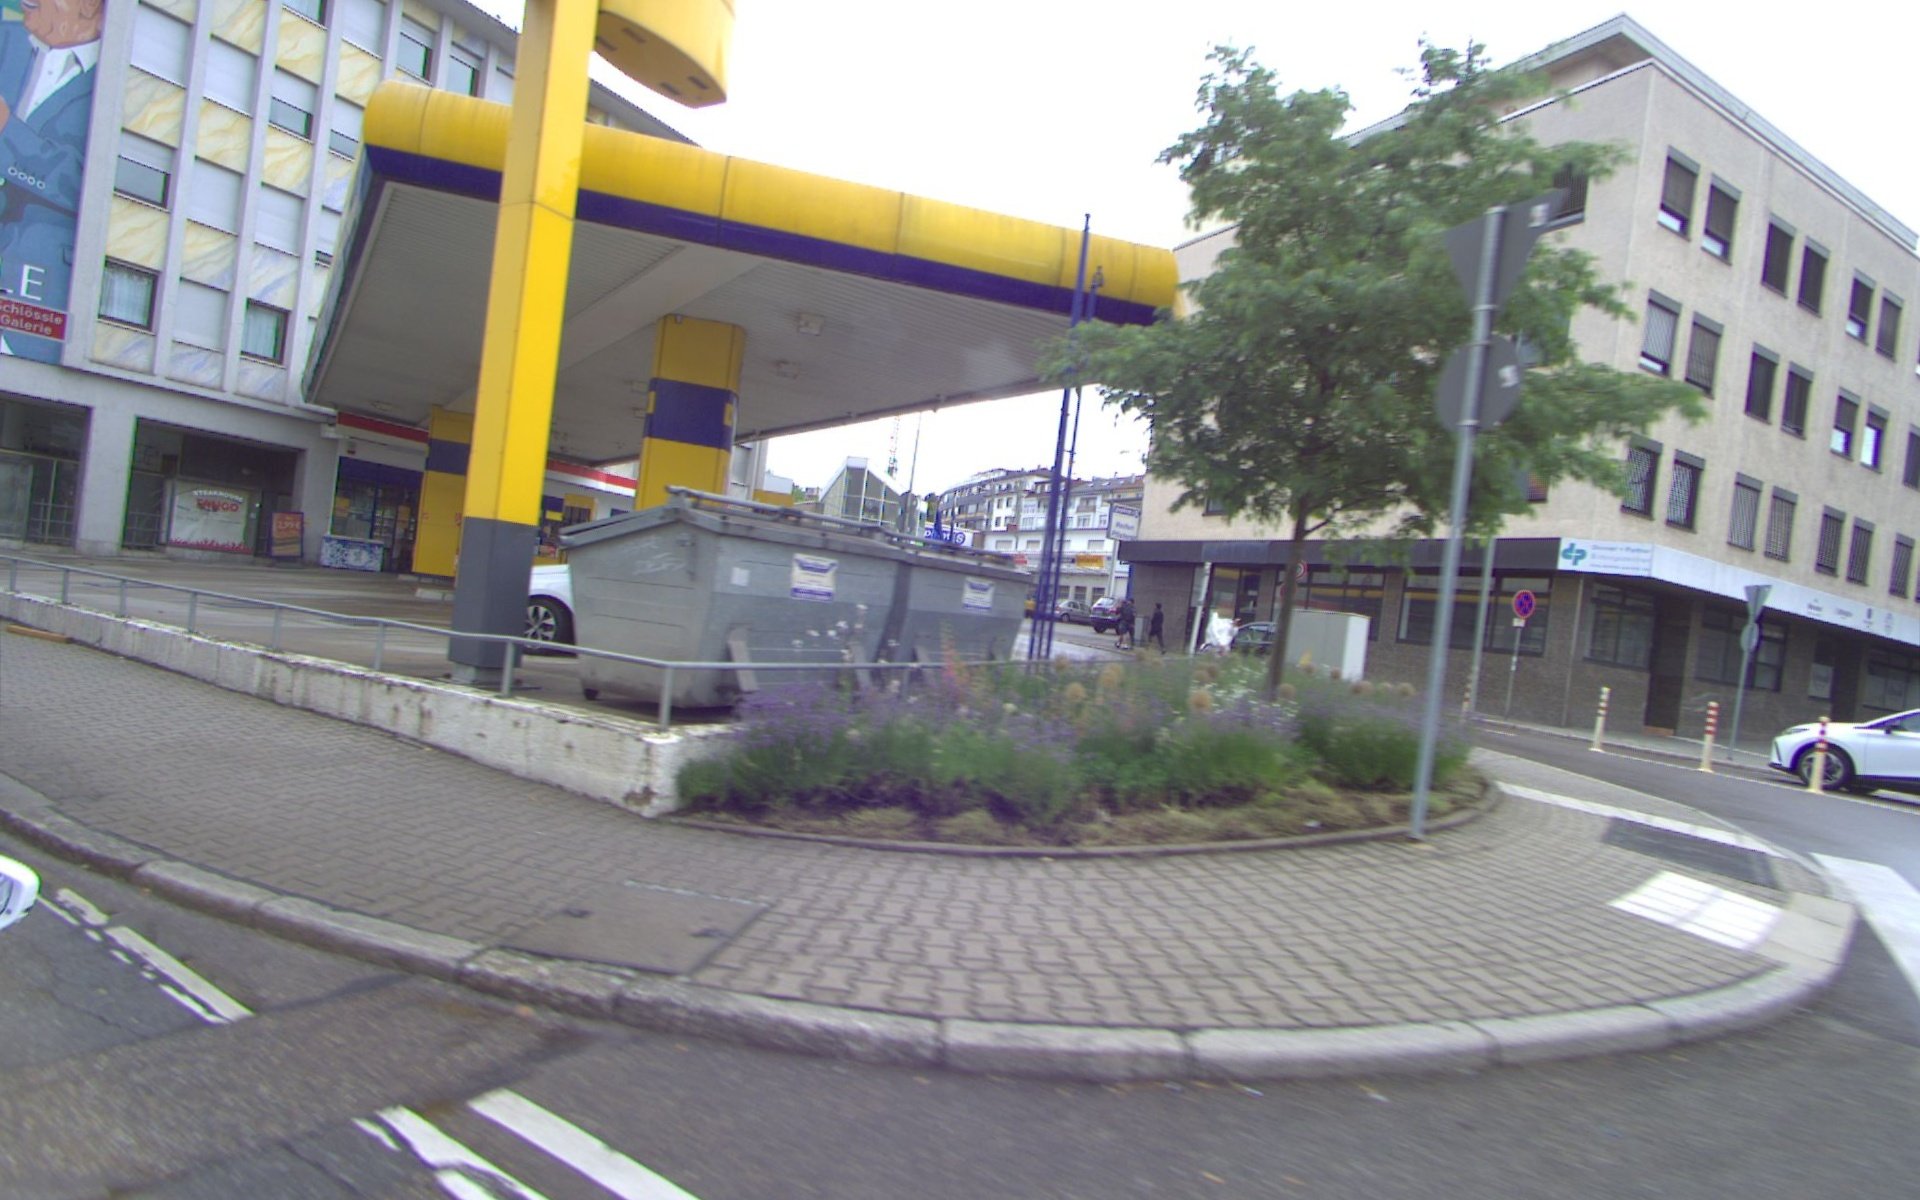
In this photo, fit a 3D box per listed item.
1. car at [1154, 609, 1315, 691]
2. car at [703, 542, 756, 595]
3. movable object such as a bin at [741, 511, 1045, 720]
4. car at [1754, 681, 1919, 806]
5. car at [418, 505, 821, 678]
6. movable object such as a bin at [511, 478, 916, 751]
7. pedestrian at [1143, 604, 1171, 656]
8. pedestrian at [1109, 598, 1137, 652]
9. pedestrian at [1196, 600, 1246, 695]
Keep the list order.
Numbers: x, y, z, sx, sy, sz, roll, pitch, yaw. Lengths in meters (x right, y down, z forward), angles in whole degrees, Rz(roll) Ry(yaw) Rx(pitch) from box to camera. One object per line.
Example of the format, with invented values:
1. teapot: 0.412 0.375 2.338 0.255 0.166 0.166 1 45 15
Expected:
1. car: 6.812 1.212 25.346 1.661 1.509 3.719 10 -2 -28
2. car: -18.016 -2.421 78.439 2.358 3.729 4.961 8 -2 -28
3. movable object such as a bin: -0.552 0.144 9.257 1.744 1.575 2.157 6 0 32
4. car: 14.066 2.228 14.073 1.790 1.494 4.173 10 -2 -32
5. car: -3.698 -0.061 11.430 3.936 1.460 1.741 5 0 -15
6. movable object such as a bin: -1.718 0.107 7.367 1.744 1.594 2.158 6 0 32
7. pedestrian: 6.619 1.005 33.763 0.474 1.666 0.571 8 -2 -28
8. pedestrian: 5.542 0.832 34.236 0.474 1.762 0.571 8 -2 -28
9. pedestrian: 4.429 0.808 17.088 0.471 1.532 0.574 7 -1 -9
